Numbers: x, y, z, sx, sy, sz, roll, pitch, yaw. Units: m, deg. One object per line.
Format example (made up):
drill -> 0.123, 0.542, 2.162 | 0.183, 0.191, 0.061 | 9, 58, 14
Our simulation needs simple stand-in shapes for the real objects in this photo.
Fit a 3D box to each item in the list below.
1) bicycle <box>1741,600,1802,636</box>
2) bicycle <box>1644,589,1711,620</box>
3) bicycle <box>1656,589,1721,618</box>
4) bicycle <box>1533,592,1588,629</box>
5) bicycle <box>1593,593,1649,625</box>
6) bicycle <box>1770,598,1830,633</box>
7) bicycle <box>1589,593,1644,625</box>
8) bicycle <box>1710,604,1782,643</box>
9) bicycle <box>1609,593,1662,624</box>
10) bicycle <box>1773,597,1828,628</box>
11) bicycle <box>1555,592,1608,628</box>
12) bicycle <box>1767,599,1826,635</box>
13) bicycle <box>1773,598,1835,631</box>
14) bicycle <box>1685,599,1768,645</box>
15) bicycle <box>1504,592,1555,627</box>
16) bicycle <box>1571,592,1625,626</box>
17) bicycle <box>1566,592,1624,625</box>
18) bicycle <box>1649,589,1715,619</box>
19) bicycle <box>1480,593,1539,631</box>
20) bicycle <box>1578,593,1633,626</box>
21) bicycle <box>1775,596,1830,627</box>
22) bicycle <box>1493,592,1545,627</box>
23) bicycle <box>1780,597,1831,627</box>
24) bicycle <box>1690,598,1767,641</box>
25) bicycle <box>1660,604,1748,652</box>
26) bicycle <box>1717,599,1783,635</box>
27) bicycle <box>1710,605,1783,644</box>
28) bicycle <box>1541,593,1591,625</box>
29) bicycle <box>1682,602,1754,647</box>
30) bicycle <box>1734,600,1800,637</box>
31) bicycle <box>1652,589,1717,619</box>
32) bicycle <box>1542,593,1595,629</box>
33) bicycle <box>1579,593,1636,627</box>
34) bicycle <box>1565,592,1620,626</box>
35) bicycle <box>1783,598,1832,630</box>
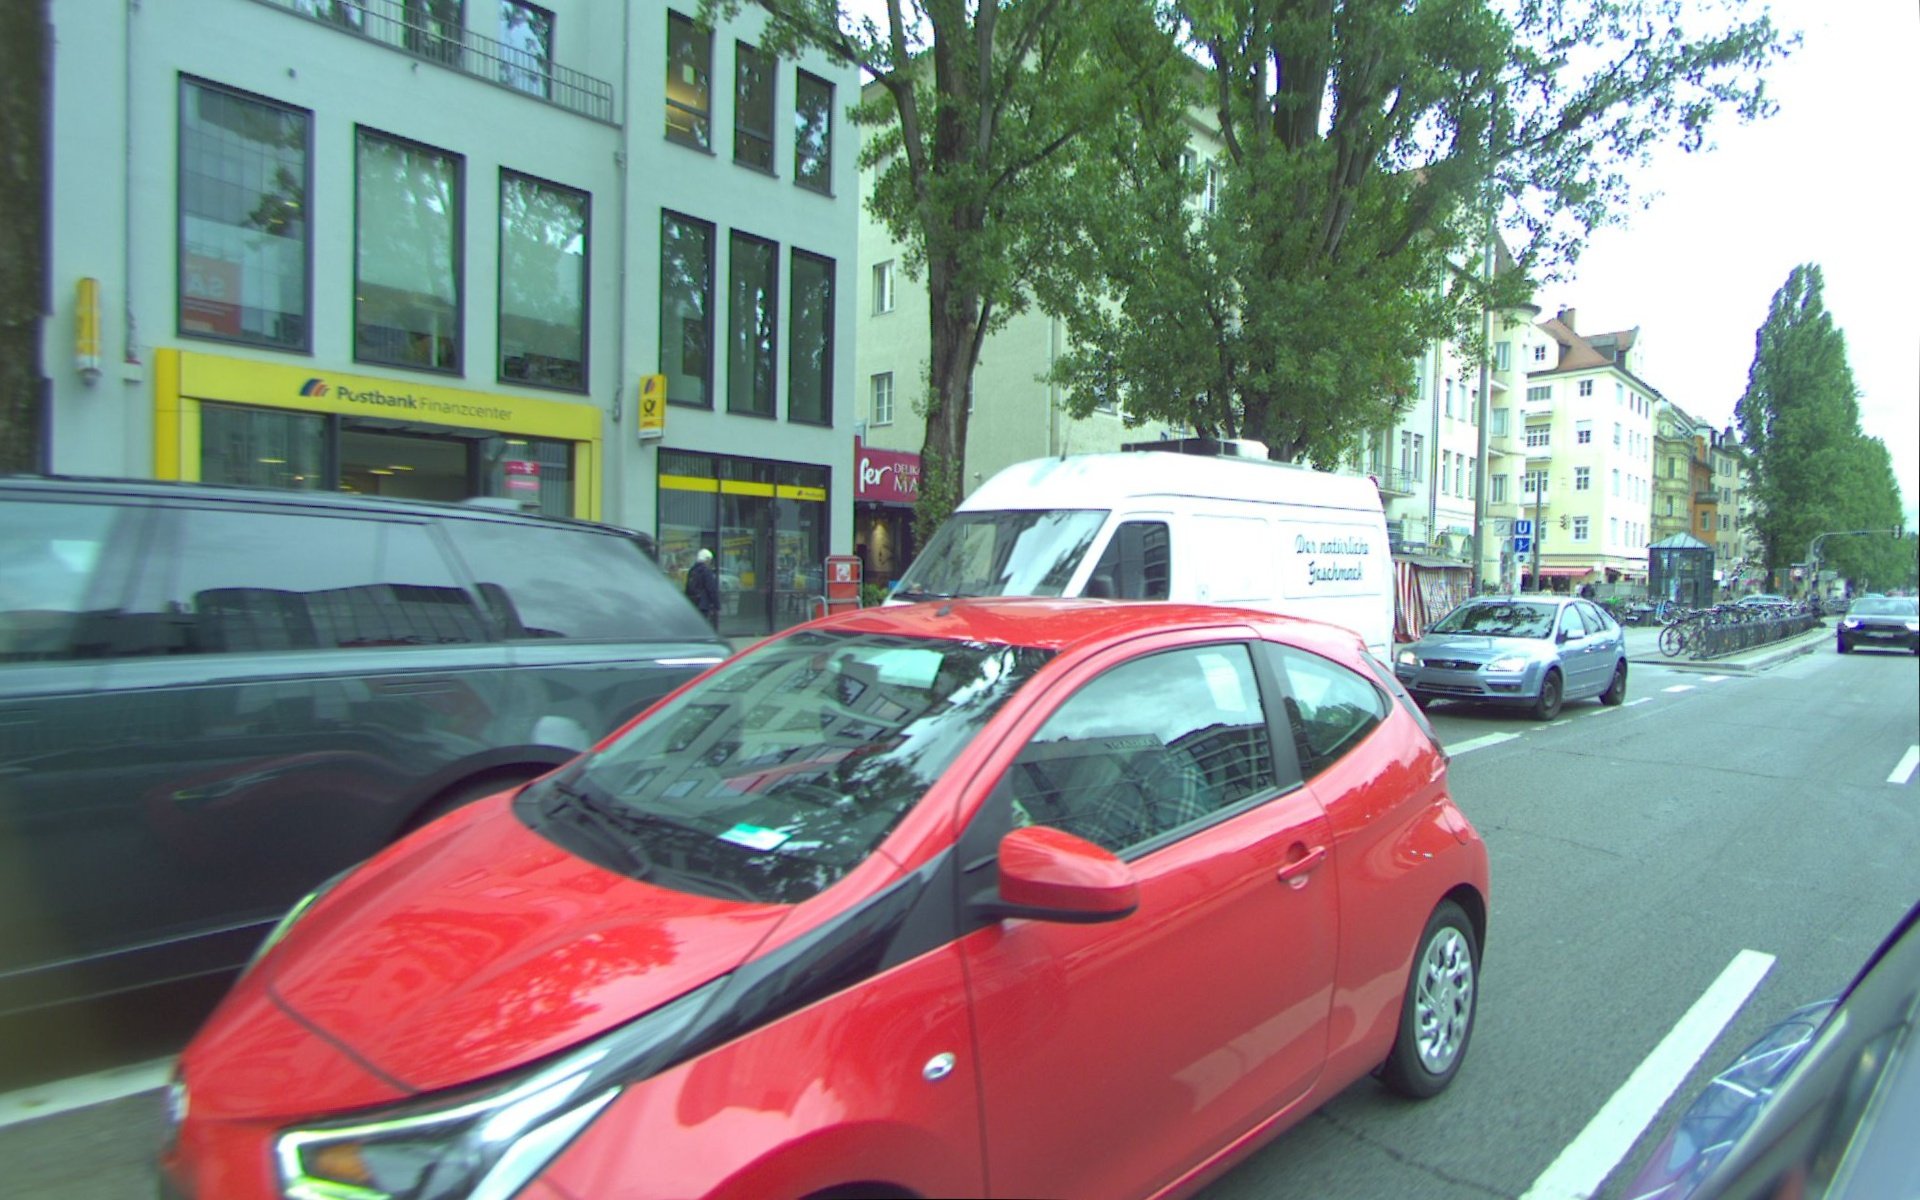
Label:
bicycle -> 24.965, 0.565, 31.168 | 0.390, 1.073, 1.851 | 0, -2, 0
bicycle -> 32.001, 0.182, 45.179 | 0.617, 1.242, 2.316 | 0, 2, -41
bicycle -> 33.459, 0.152, 46.523 | 0.617, 1.242, 2.316 | 0, 2, -41
bicycle -> 19.473, 0.322, 32.828 | 0.402, 1.091, 1.453 | 0, 3, -36
bicycle -> 24.638, 0.322, 37.755 | 1.652, 1.091, 0.403 | 5, 3, 45
bicycle -> 29.889, 0.539, 36.040 | 0.480, 1.151, 1.798 | 0, 1, -6
bicycle -> 24.292, 0.329, 37.473 | 1.602, 1.091, 0.403 | 4, 3, 45
bicycle -> 21.452, 0.655, 27.667 | 0.378, 1.024, 1.803 | 0, -2, -6
bicycle -> 25.570, 0.312, 38.336 | 1.727, 1.091, 0.411 | 2, 2, -4
bicycle -> 32.567, 0.468, 39.235 | 0.468, 1.151, 1.682 | 0, 1, -14
bicycle -> 20.937, 0.329, 34.097 | 1.445, 1.091, 0.405 | 4, 3, 38
bicycle -> 28.431, 0.574, 34.434 | 0.480, 1.151, 1.796 | 0, 1, 0
bicycle -> 30.799, 0.519, 36.947 | 0.578, 1.151, 1.799 | 0, 1, -8
bicycle -> 19.174, 0.565, 25.350 | 0.536, 1.119, 1.803 | 0, -2, -6
bicycle -> 19.427, 0.308, 34.532 | 1.445, 1.091, 0.405 | 4, 3, 38
bicycle -> 22.532, 0.303, 35.783 | 1.525, 1.091, 0.403 | 4, 3, 45
bicycle -> 22.802, 0.286, 36.363 | 1.658, 1.091, 0.403 | 5, 3, 45
bicycle -> 32.482, 0.173, 45.579 | 0.617, 1.242, 2.316 | 0, 2, -41
bicycle -> 17.831, 0.367, 32.893 | 0.402, 1.116, 1.635 | 0, 3, -35
bicycle -> 23.698, 0.335, 37.193 | 1.622, 1.091, 0.403 | 4, 3, 45
bicycle -> 33.622, 0.441, 40.428 | 0.468, 1.151, 1.788 | 0, 1, -10
bicycle -> 18.885, 0.316, 34.201 | 1.445, 1.091, 0.405 | 4, 3, 38
bicycle -> 33.203, 0.456, 39.780 | 0.469, 1.151, 1.680 | 0, 1, -5
bicycle -> 20.617, 0.525, 27.200 | 0.536, 1.119, 1.803 | 0, -2, -6
bicycle -> 17.226, 0.648, 23.477 | 0.535, 1.068, 1.803 | 0, -2, -6
bicycle -> 23.442, 0.511, 30.066 | 0.378, 1.024, 1.803 | 0, -2, -6
bicycle -> 21.101, 0.666, 27.193 | 0.378, 1.024, 1.803 | 0, -2, -6
bicycle -> 22.628, 0.321, 37.817 | 1.527, 1.091, 0.403 | 4, 3, 45
bicycle -> 18.600, 0.617, 24.883 | 0.360, 1.068, 1.801 | 0, -2, -1
bicycle -> 24.484, 0.575, 30.736 | 0.389, 1.073, 1.803 | 0, -2, -6
bicycle -> 32.946, 0.163, 46.037 | 0.617, 1.242, 2.316 | 0, 2, -41
bicycle -> 20.038, 0.346, 33.334 | 1.443, 1.091, 0.405 | 4, 3, 34
bicycle -> 23.351, 0.350, 36.509 | 0.403, 1.091, 1.638 | 0, 3, -39
bicycle -> 22.111, 0.311, 35.386 | 1.536, 1.091, 0.403 | 4, 3, 45
bicycle -> 31.264, 0.510, 37.370 | 0.341, 1.151, 1.528 | 0, 1, -8
